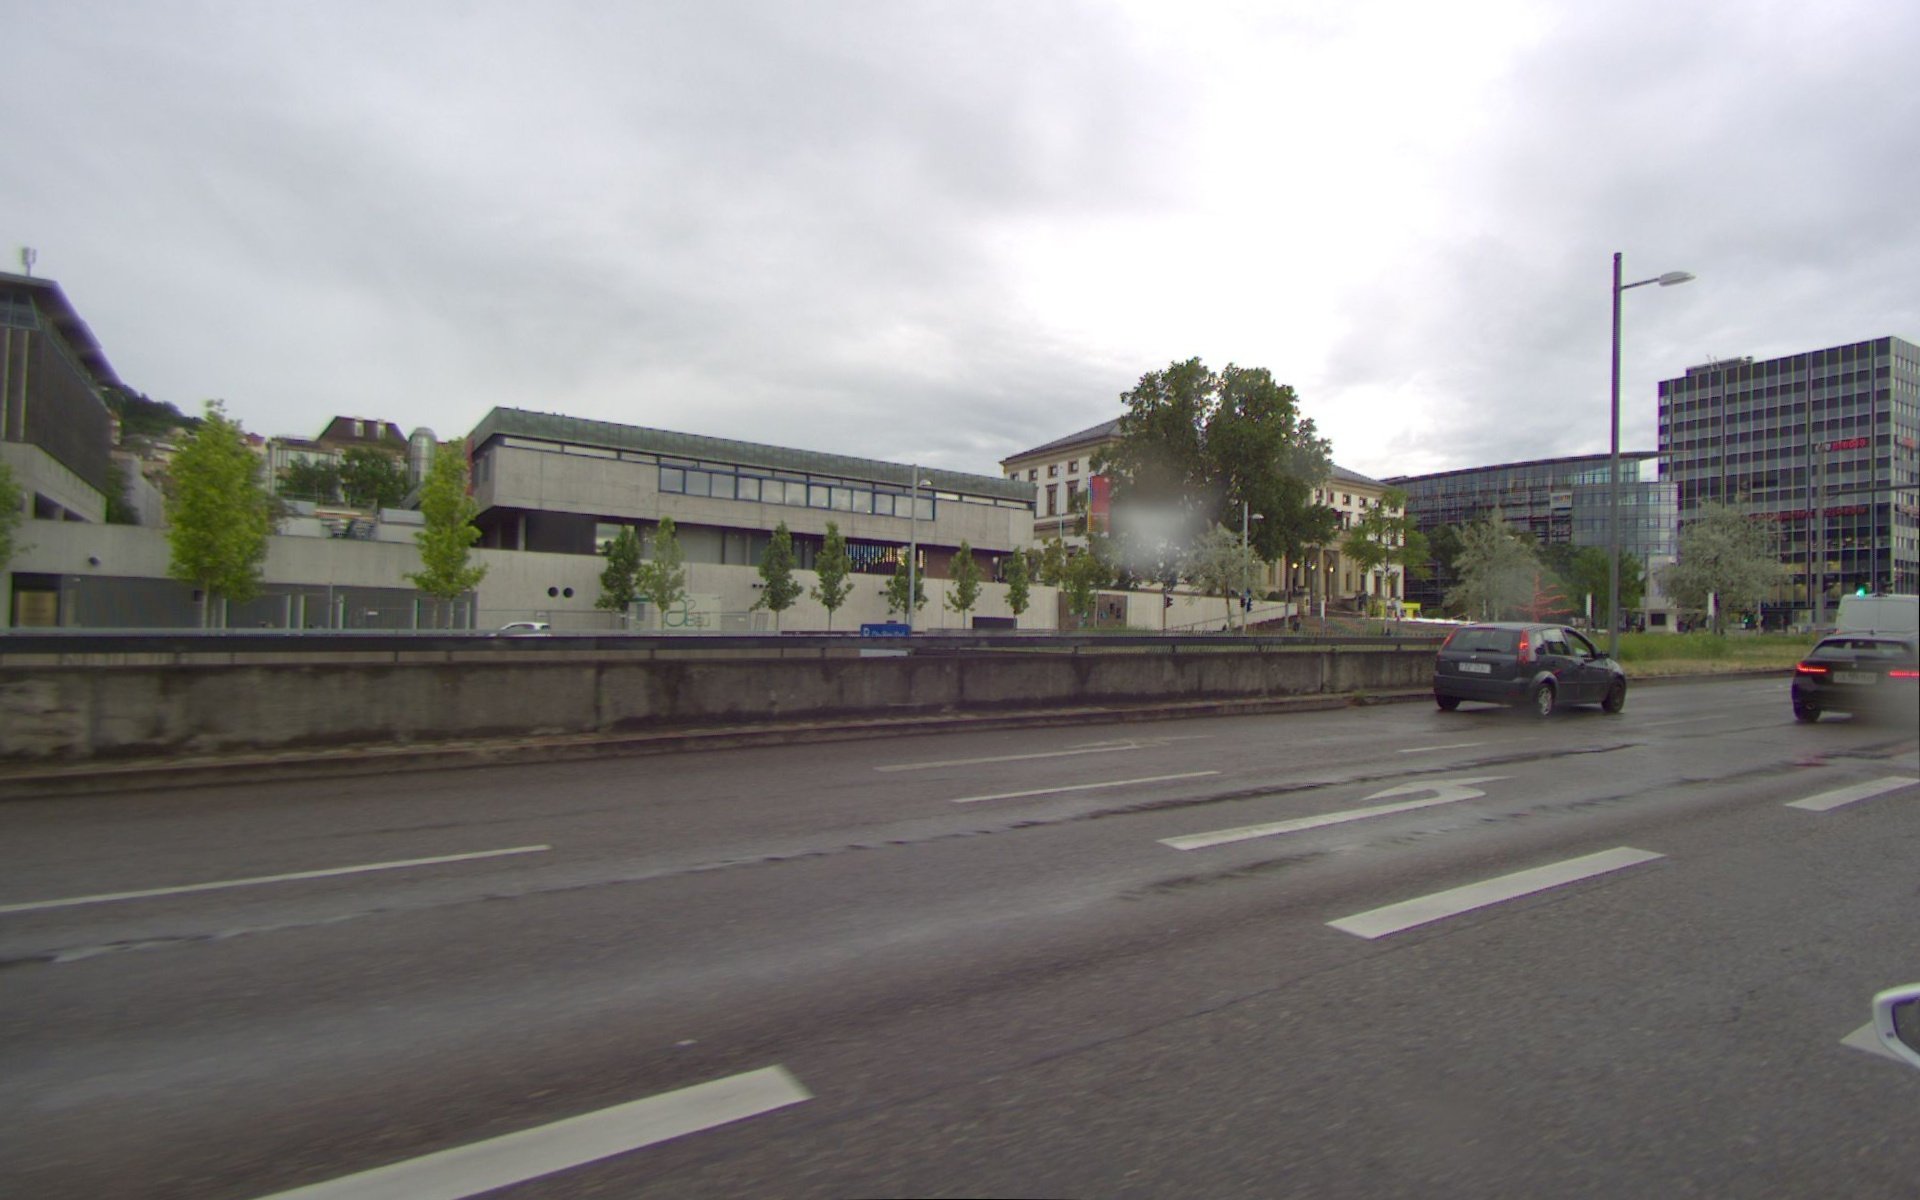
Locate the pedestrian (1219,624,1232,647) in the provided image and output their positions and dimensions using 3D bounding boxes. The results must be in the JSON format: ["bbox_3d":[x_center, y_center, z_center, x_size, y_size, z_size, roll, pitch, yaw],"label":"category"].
[{"bbox_3d":[17.232,2.280,65.204,0.621,1.441,0.493,2,-1,-4],"label":"pedestrian"}]

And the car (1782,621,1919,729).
[{"bbox_3d":[14.955,1.104,16.069,4.180,1.491,1.742,1,0,-35],"label":"car"}]

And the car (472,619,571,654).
[{"bbox_3d":[-15.657,1.319,35.890,2.991,1.129,1.431,3,-1,-35],"label":"car"}]

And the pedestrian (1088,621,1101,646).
[{"bbox_3d":[7.785,1.930,58.073,0.567,1.401,0.467,3,-1,-15],"label":"pedestrian"}]

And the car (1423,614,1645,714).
[{"bbox_3d":[9.413,1.033,16.393,3.860,1.434,1.533,3,-1,-33],"label":"car"}]

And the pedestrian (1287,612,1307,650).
[{"bbox_3d":[19.447,1.772,57.919,0.716,2.120,0.765,-4,3,-24],"label":"pedestrian"}]

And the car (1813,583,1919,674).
[{"bbox_3d":[26.383,0.839,28.287,4.954,2.344,2.279,3,-1,-34],"label":"car"}]
